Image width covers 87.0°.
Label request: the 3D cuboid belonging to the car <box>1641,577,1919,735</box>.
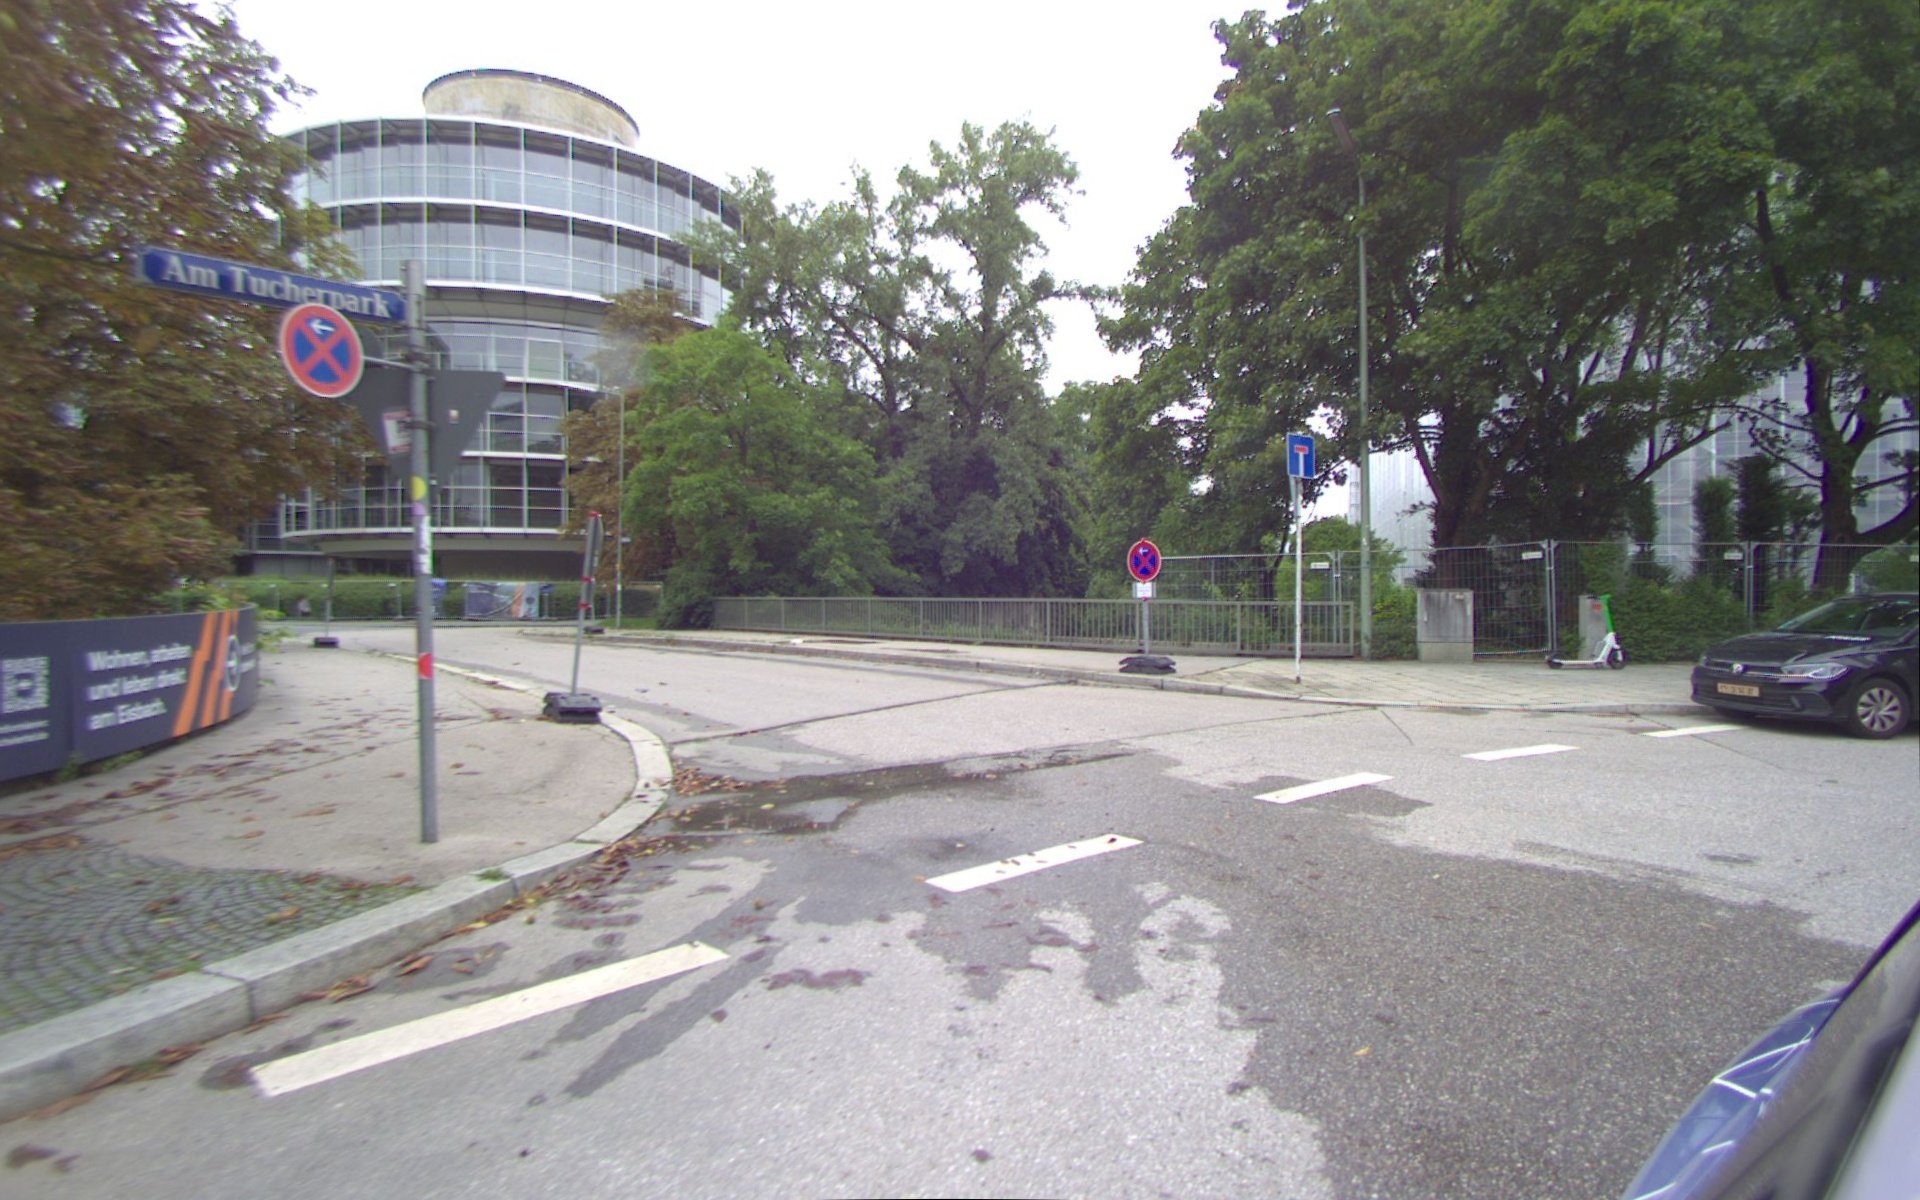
[{"bbox_3d":[9.825,0.497,10.717,3.960,1.450,2.004,0,2,-8],"label":"car"}]
